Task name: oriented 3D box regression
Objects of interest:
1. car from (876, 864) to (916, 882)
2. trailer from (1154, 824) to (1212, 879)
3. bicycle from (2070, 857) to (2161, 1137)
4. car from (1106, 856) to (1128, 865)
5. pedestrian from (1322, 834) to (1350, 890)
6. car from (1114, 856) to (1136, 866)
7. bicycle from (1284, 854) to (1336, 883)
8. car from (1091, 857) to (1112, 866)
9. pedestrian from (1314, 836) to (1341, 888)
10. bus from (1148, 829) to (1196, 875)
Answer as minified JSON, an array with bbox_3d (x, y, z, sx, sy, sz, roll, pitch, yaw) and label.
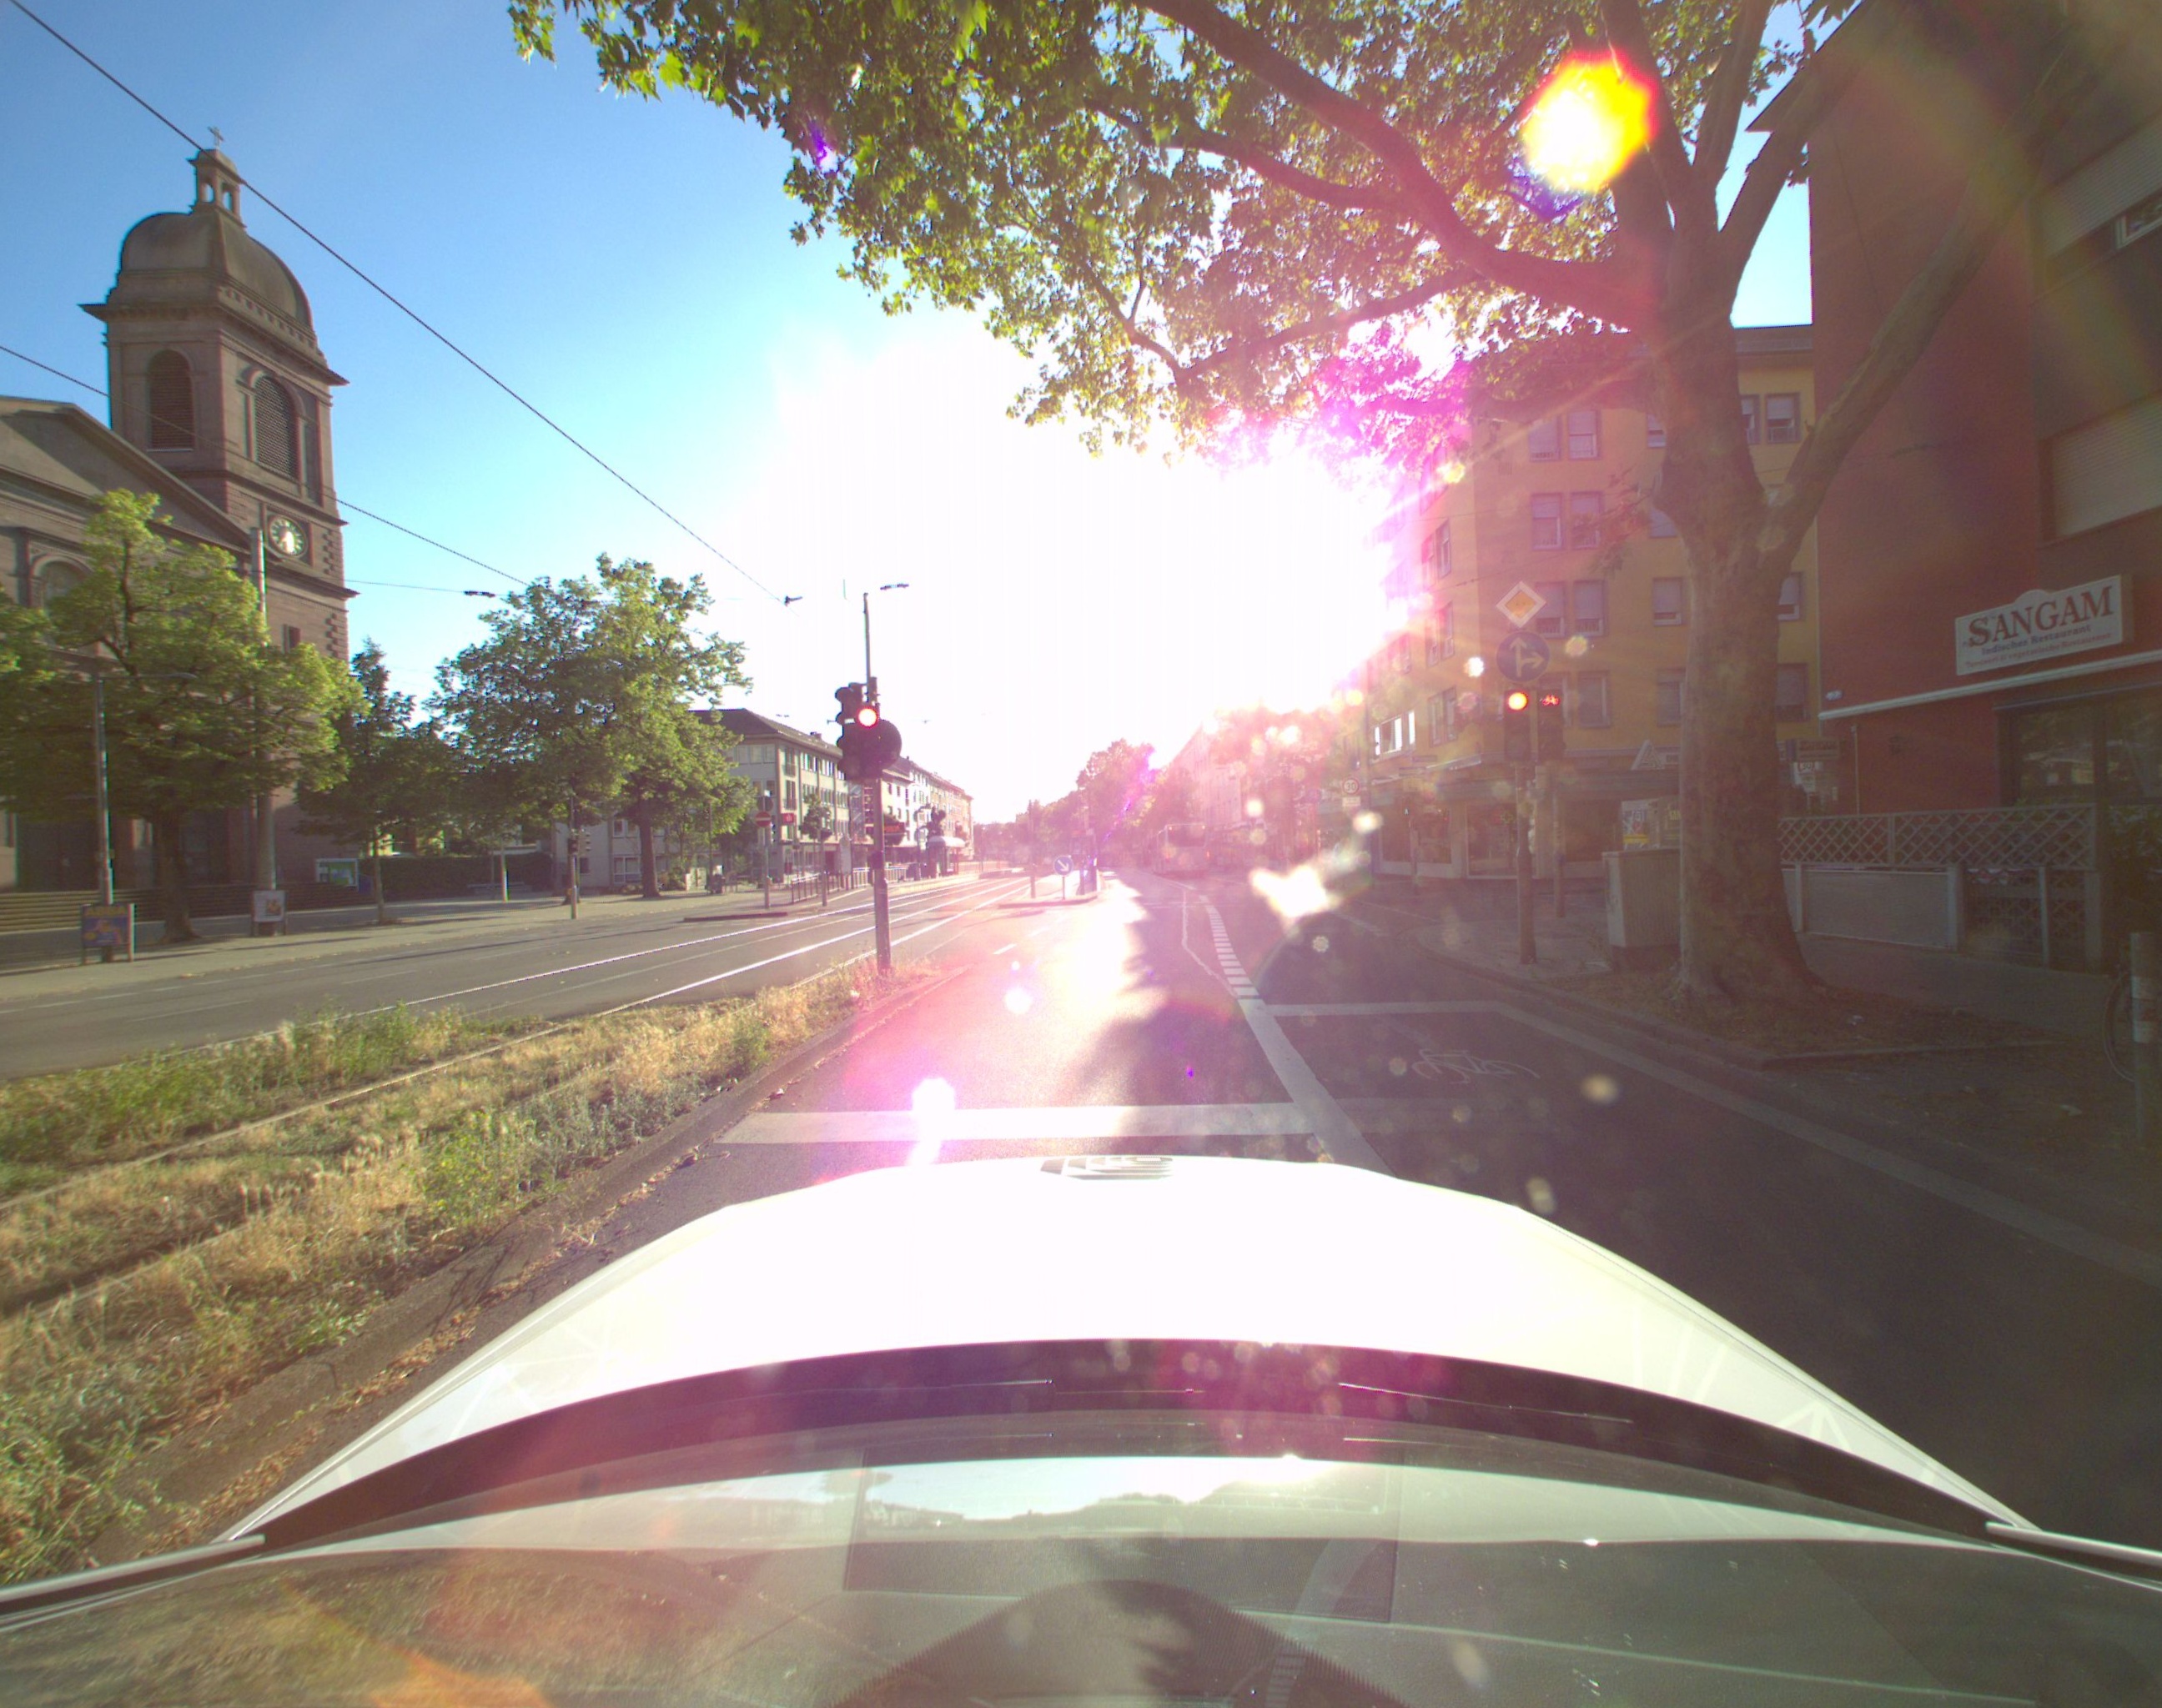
[{"bbox_3d":[-20.747,2.117,91.137,4.007,1.816,1.984,-2,0,-25],"label":"car"},{"bbox_3d":[6.187,-0.161,50.531,2.801,3.110,8.798,0,0,2],"label":"trailer"},{"bbox_3d":[5.637,0.683,3.978,0.687,1.203,1.859,0,4,40],"label":"bicycle"},{"bbox_3d":[7.151,1.290,162.192,3.911,1.699,1.817,-2,0,-27],"label":"car"},{"bbox_3d":[8.330,0.253,26.609,0.677,1.770,0.687,-2,0,2],"label":"pedestrian"},{"bbox_3d":[8.578,1.346,159.408,3.911,1.699,1.817,-2,0,-27],"label":"car"},{"bbox_3d":[8.947,0.566,31.844,1.766,1.021,0.694,-4,0,1],"label":"bicycle"},{"bbox_3d":[4.147,1.583,167.407,3.911,1.596,1.676,-2,0,-27],"label":"car"},{"bbox_3d":[8.553,0.267,28.305,0.677,1.770,0.687,-2,0,2],"label":"pedestrian"},{"bbox_3d":[6.493,-0.138,59.429,2.801,3.101,9.098,0,0,2],"label":"bus"}]
